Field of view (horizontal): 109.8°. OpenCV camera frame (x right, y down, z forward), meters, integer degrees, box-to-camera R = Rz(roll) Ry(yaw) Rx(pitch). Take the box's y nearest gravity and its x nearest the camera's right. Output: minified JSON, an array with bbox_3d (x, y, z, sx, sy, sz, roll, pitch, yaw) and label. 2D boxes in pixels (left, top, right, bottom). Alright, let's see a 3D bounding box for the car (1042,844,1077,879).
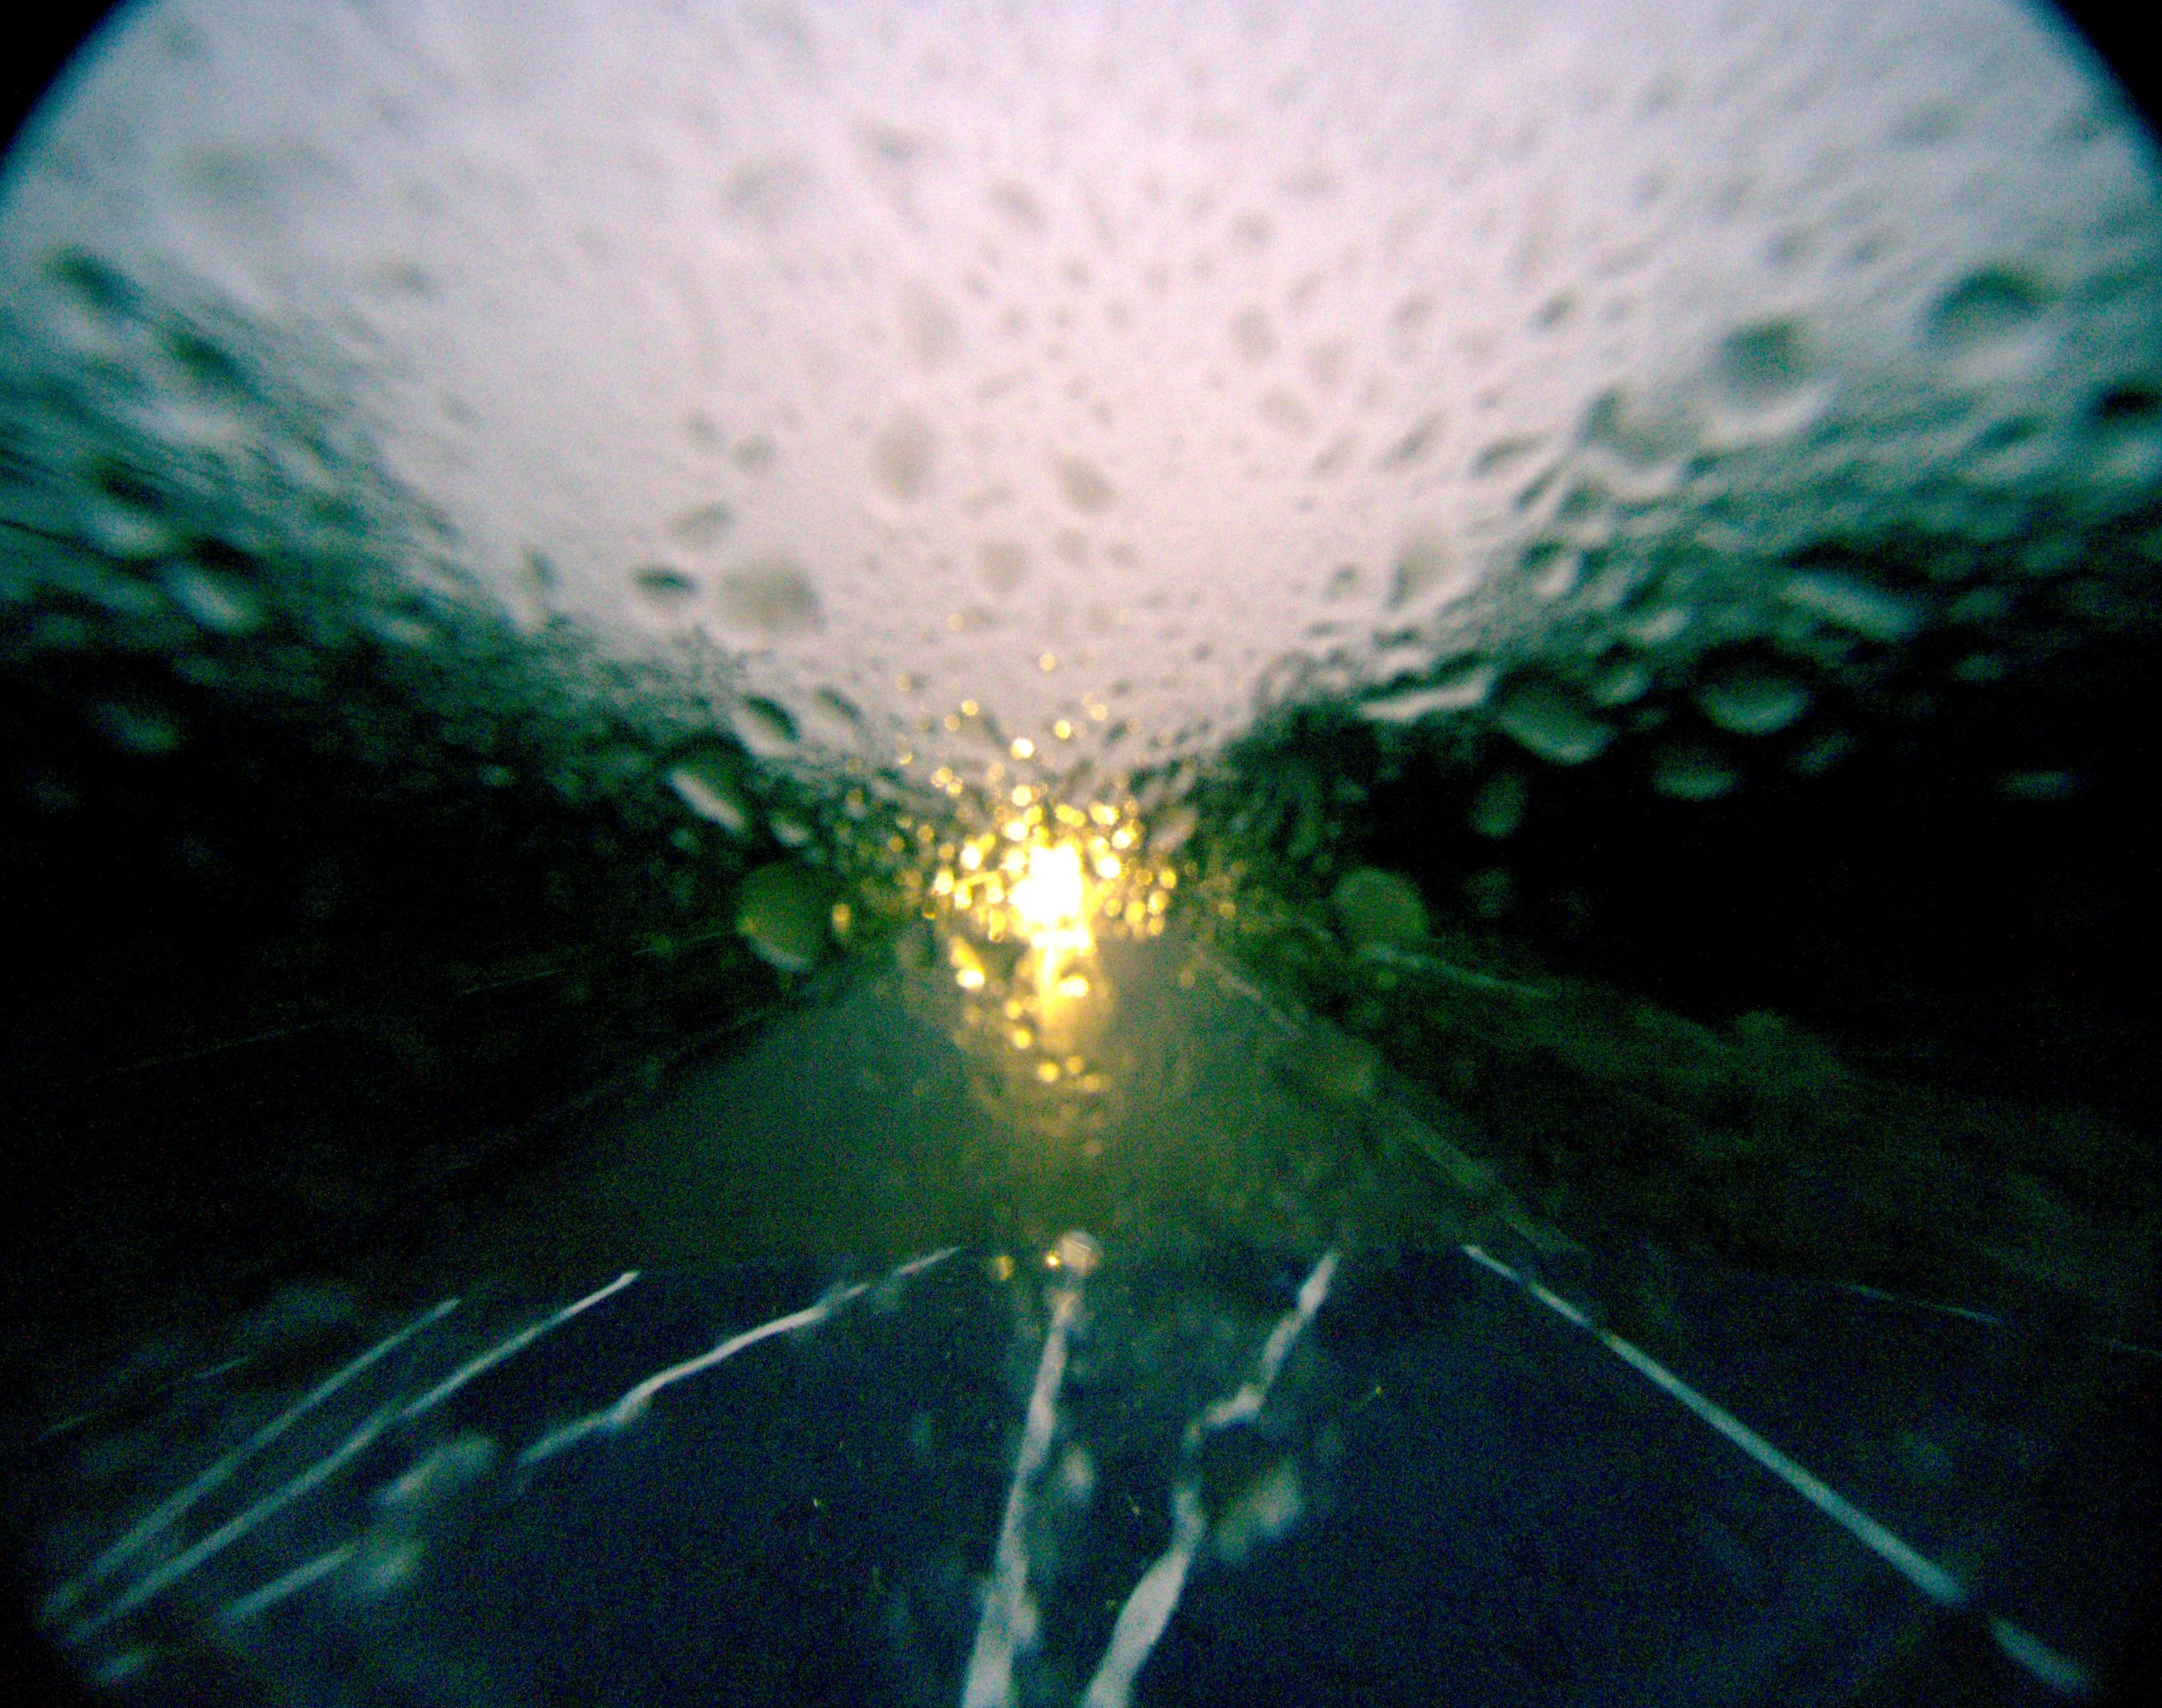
[{"bbox_3d":[-1.278,0.472,46.128,1.999,2.001,3.964,1,-1,-1],"label":"car"}]
